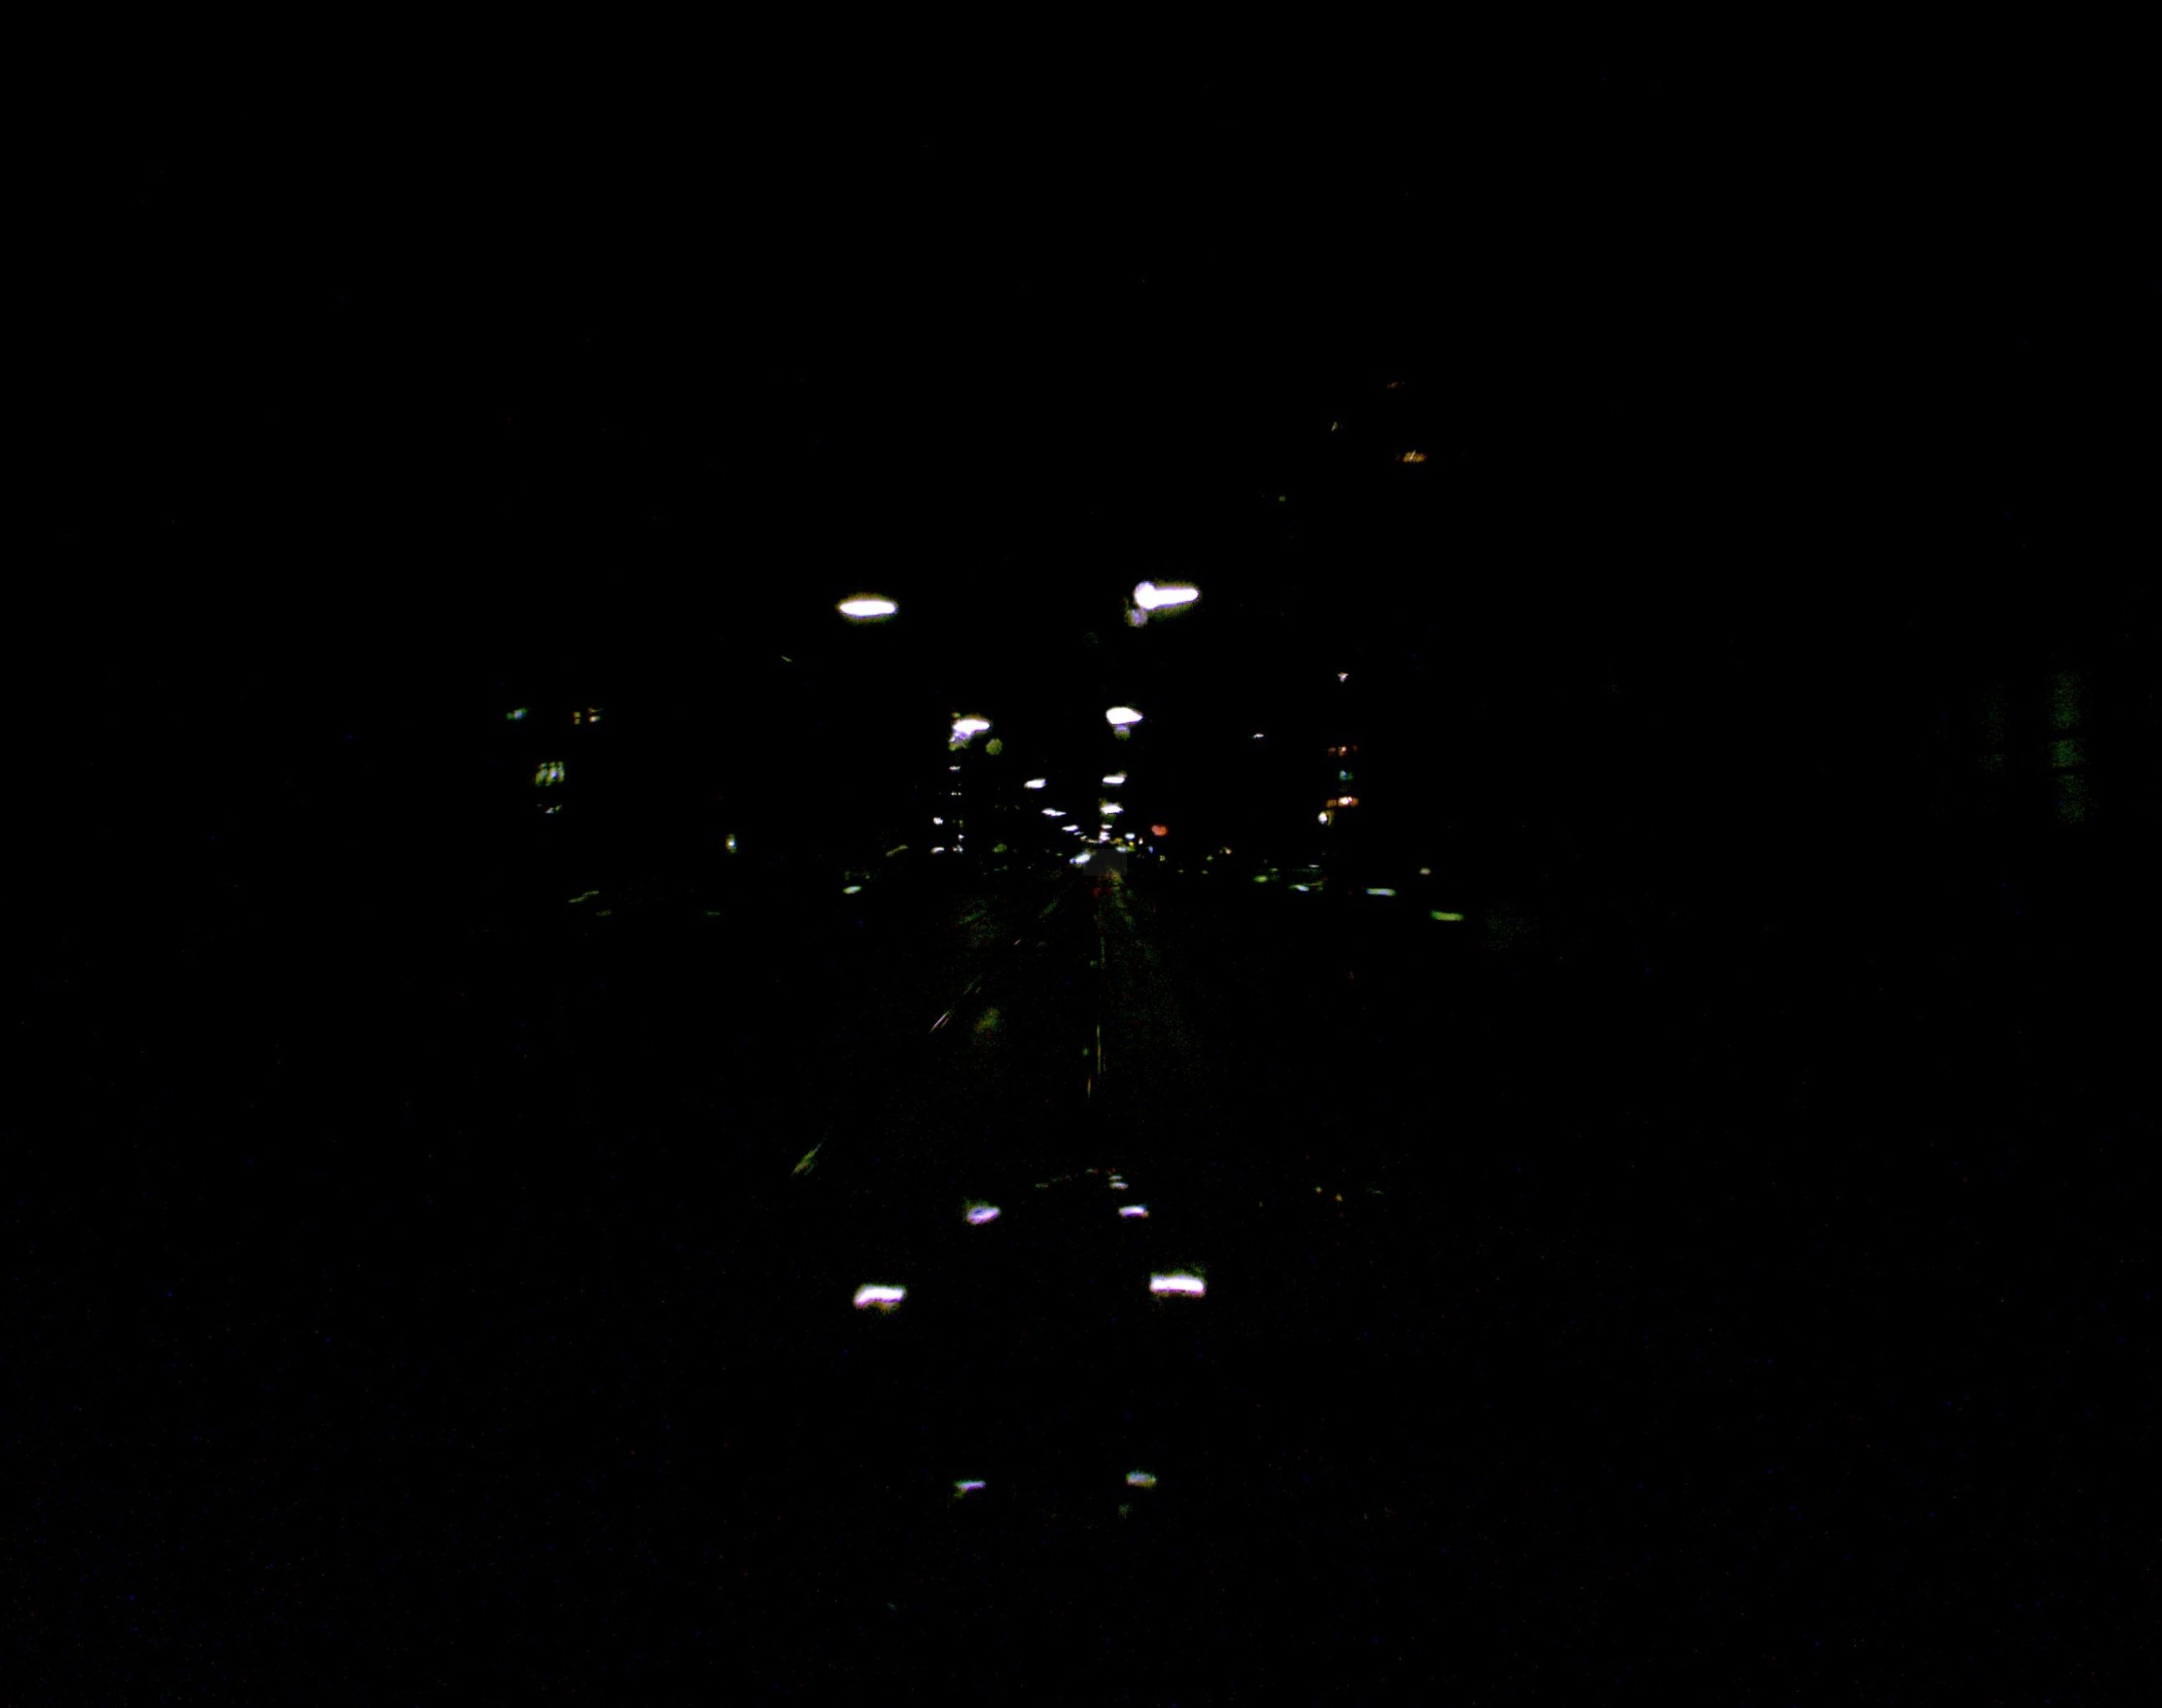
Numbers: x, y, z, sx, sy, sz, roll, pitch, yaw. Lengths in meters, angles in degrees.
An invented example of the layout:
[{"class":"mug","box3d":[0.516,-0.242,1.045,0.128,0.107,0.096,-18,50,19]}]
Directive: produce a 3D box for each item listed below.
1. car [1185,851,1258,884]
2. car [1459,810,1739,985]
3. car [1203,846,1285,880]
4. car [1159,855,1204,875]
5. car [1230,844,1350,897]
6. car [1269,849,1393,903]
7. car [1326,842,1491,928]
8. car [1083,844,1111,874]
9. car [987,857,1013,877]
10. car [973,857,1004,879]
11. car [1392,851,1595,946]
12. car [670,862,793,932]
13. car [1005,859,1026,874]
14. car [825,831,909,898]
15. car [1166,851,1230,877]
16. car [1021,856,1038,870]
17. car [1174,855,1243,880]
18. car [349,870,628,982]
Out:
[{"class":"car","box3d":[7.452,0.676,42.977,2.030,1.623,3.852,0,0,43]},{"class":"car","box3d":[6.867,0.448,10.623,4.196,1.839,1.940,0,0,-41]},{"class":"car","box3d":[7.391,0.366,36.812,3.849,1.430,1.618,-1,0,-41]},{"class":"car","box3d":[8.483,0.899,68.540,1.886,1.572,3.987,0,0,40]},{"class":"car","box3d":[6.707,0.474,26.007,3.909,1.533,1.800,-1,0,-41]},{"class":"car","box3d":[7.260,0.592,23.514,3.878,1.433,1.799,0,0,-45]},{"class":"car","box3d":[6.845,0.531,16.738,1.671,1.404,4.485,-1,2,42]},{"class":"car","box3d":[1.327,0.446,70.435,2.210,2.441,5.382,-1,0,-1]},{"class":"car","box3d":[-7.525,1.173,75.842,1.993,1.785,4.000,0,-1,1]},{"class":"car","box3d":[-7.583,1.144,67.459,2.102,1.765,4.962,0,-1,-1]},{"class":"car","box3d":[6.969,0.665,13.694,3.351,1.385,1.614,-1,0,-34]},{"class":"car","box3d":[-8.881,1.029,21.014,1.636,1.507,3.618,-1,2,-1]},{"class":"car","box3d":[-7.686,1.491,95.803,2.016,1.761,4.000,0,-1,1]},{"class":"car","box3d":[-8.601,0.376,33.242,2.019,2.499,5.604,0,0,-1]},{"class":"car","box3d":[7.746,0.637,53.744,4.273,1.698,2.005,0,0,-45]},{"class":"car","box3d":[-6.751,1.216,106.961,2.016,1.761,4.000,0,-1,1]},{"class":"car","box3d":[7.719,0.793,49.042,4.272,1.454,1.927,0,0,-43]},{"class":"car","box3d":[-8.967,0.999,12.785,1.605,1.428,3.807,0,0,-1]}]
